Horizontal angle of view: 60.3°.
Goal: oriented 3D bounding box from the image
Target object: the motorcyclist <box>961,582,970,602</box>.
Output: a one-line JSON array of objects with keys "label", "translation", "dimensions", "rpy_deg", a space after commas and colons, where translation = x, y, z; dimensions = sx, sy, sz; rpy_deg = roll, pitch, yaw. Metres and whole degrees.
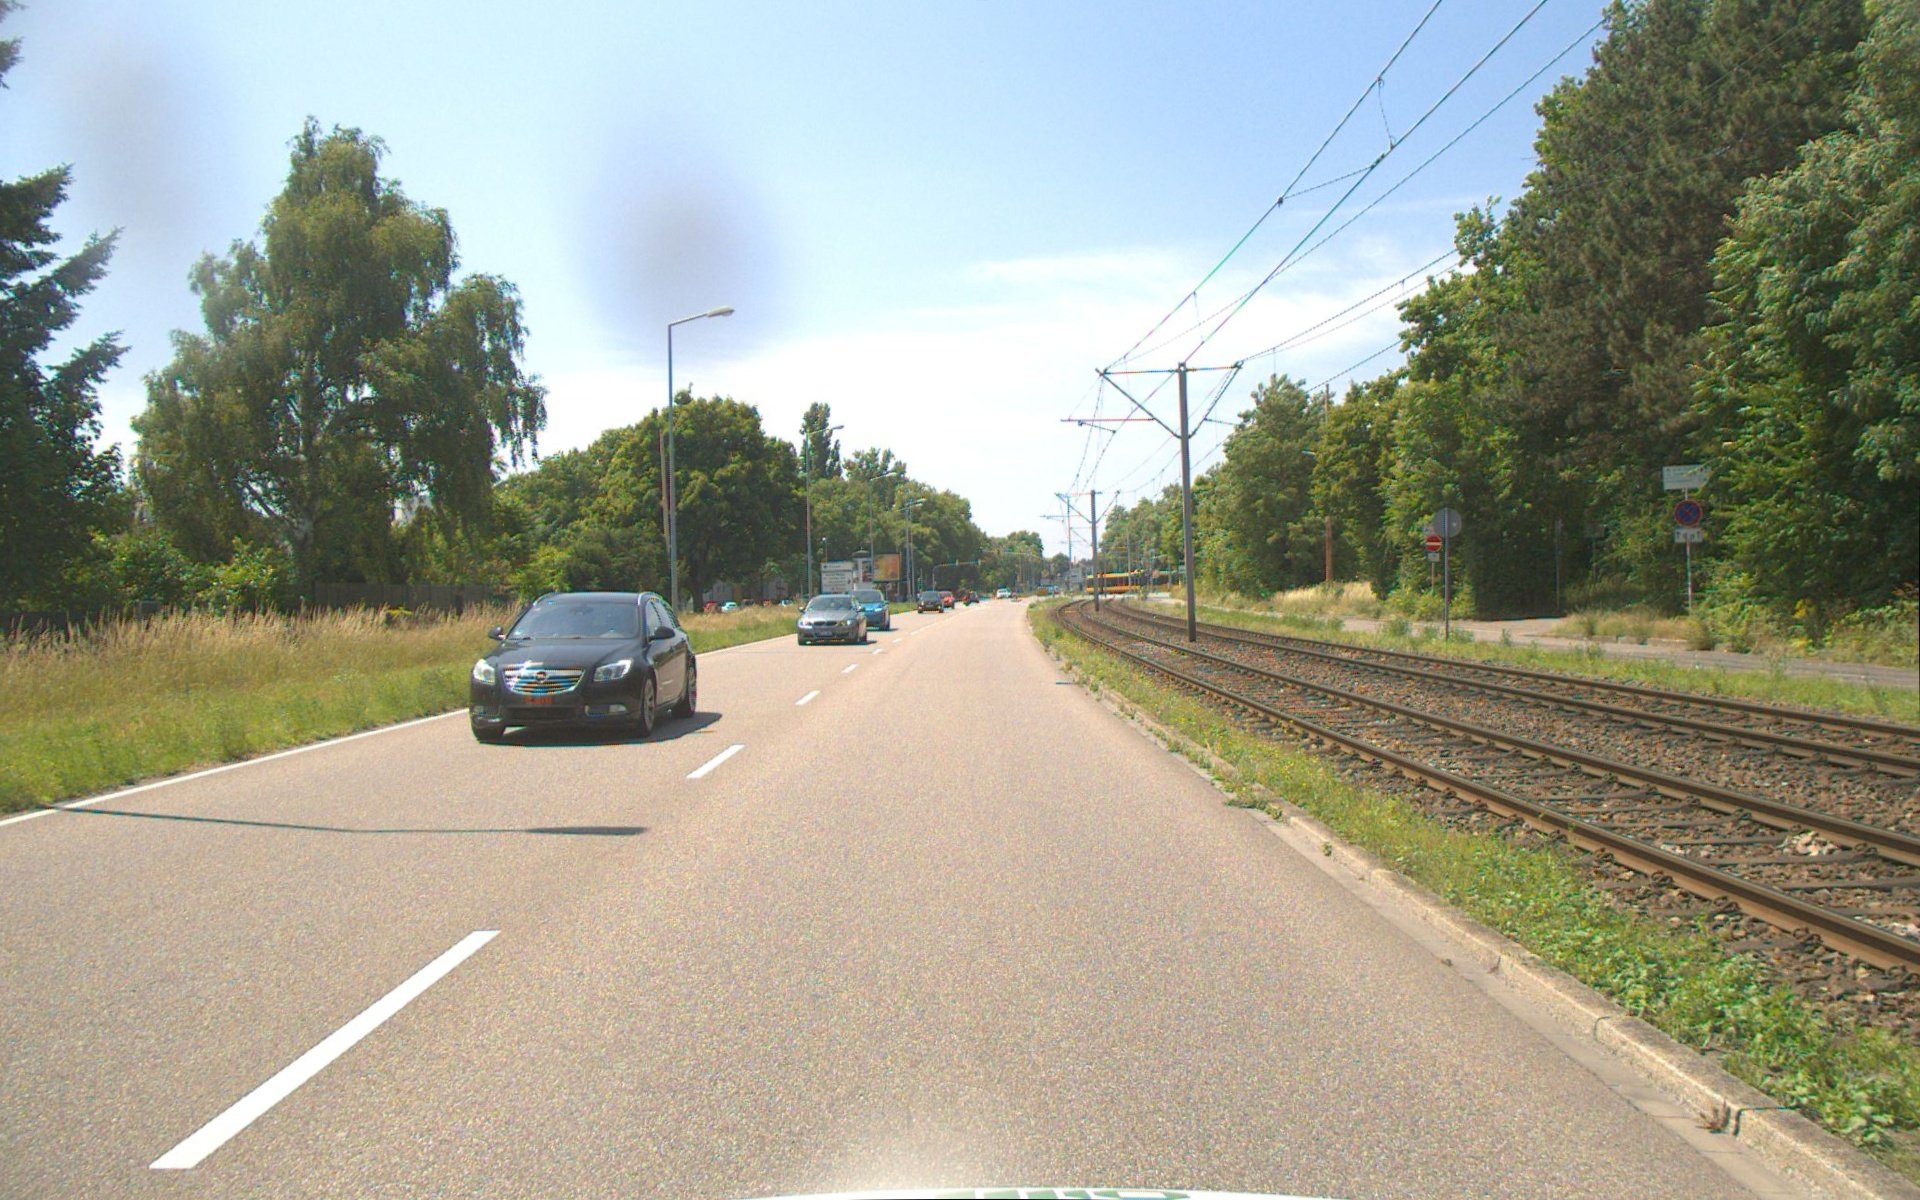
[{"label": "motorcyclist", "translation": [0.511, -0.762, 163.587], "dimensions": [0.873, 1.938, 1.015], "rpy_deg": [-1, 0, 1]}]

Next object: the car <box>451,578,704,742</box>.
[{"label": "car", "translation": [-4.038, 0.578, 18.190], "dimensions": [1.780, 1.555, 4.363], "rpy_deg": [-1, 0, -1]}]

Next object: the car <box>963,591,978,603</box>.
[{"label": "car", "translation": [1.292, -0.333, 198.576], "dimensions": [1.593, 1.419, 4.365], "rpy_deg": [-1, 0, 3]}]

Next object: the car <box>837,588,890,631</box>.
[{"label": "car", "translation": [-3.694, 0.357, 63.844], "dimensions": [1.780, 1.565, 4.363], "rpy_deg": [-1, 0, -1]}]

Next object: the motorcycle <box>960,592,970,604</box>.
[{"label": "motorcycle", "translation": [0.541, -0.189, 163.602], "dimensions": [0.950, 1.137, 2.733], "rpy_deg": [-1, 0, 1]}]

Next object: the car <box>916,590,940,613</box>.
[{"label": "car", "translation": [-2.145, 0.071, 112.364], "dimensions": [1.594, 1.516, 4.363], "rpy_deg": [-1, 0, -1]}]

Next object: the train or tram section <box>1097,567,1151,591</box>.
[{"label": "train or tram section", "translation": [25.396, -3.277, 256.745], "dimensions": [8.302, 3.557, 2.371], "rpy_deg": [-1, 0, 5]}]

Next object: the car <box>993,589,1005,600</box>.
[{"label": "car", "translation": [6.063, -0.881, 256.396], "dimensions": [1.785, 1.643, 4.364], "rpy_deg": [-1, 0, 1]}]

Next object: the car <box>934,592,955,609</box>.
[{"label": "car", "translation": [-1.255, 0.009, 133.430], "dimensions": [1.594, 1.338, 4.363], "rpy_deg": [-1, 0, 0]}]

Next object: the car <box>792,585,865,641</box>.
[{"label": "car", "translation": [-3.773, 0.365, 48.055], "dimensions": [1.780, 1.519, 4.363], "rpy_deg": [-1, 0, -1]}]
